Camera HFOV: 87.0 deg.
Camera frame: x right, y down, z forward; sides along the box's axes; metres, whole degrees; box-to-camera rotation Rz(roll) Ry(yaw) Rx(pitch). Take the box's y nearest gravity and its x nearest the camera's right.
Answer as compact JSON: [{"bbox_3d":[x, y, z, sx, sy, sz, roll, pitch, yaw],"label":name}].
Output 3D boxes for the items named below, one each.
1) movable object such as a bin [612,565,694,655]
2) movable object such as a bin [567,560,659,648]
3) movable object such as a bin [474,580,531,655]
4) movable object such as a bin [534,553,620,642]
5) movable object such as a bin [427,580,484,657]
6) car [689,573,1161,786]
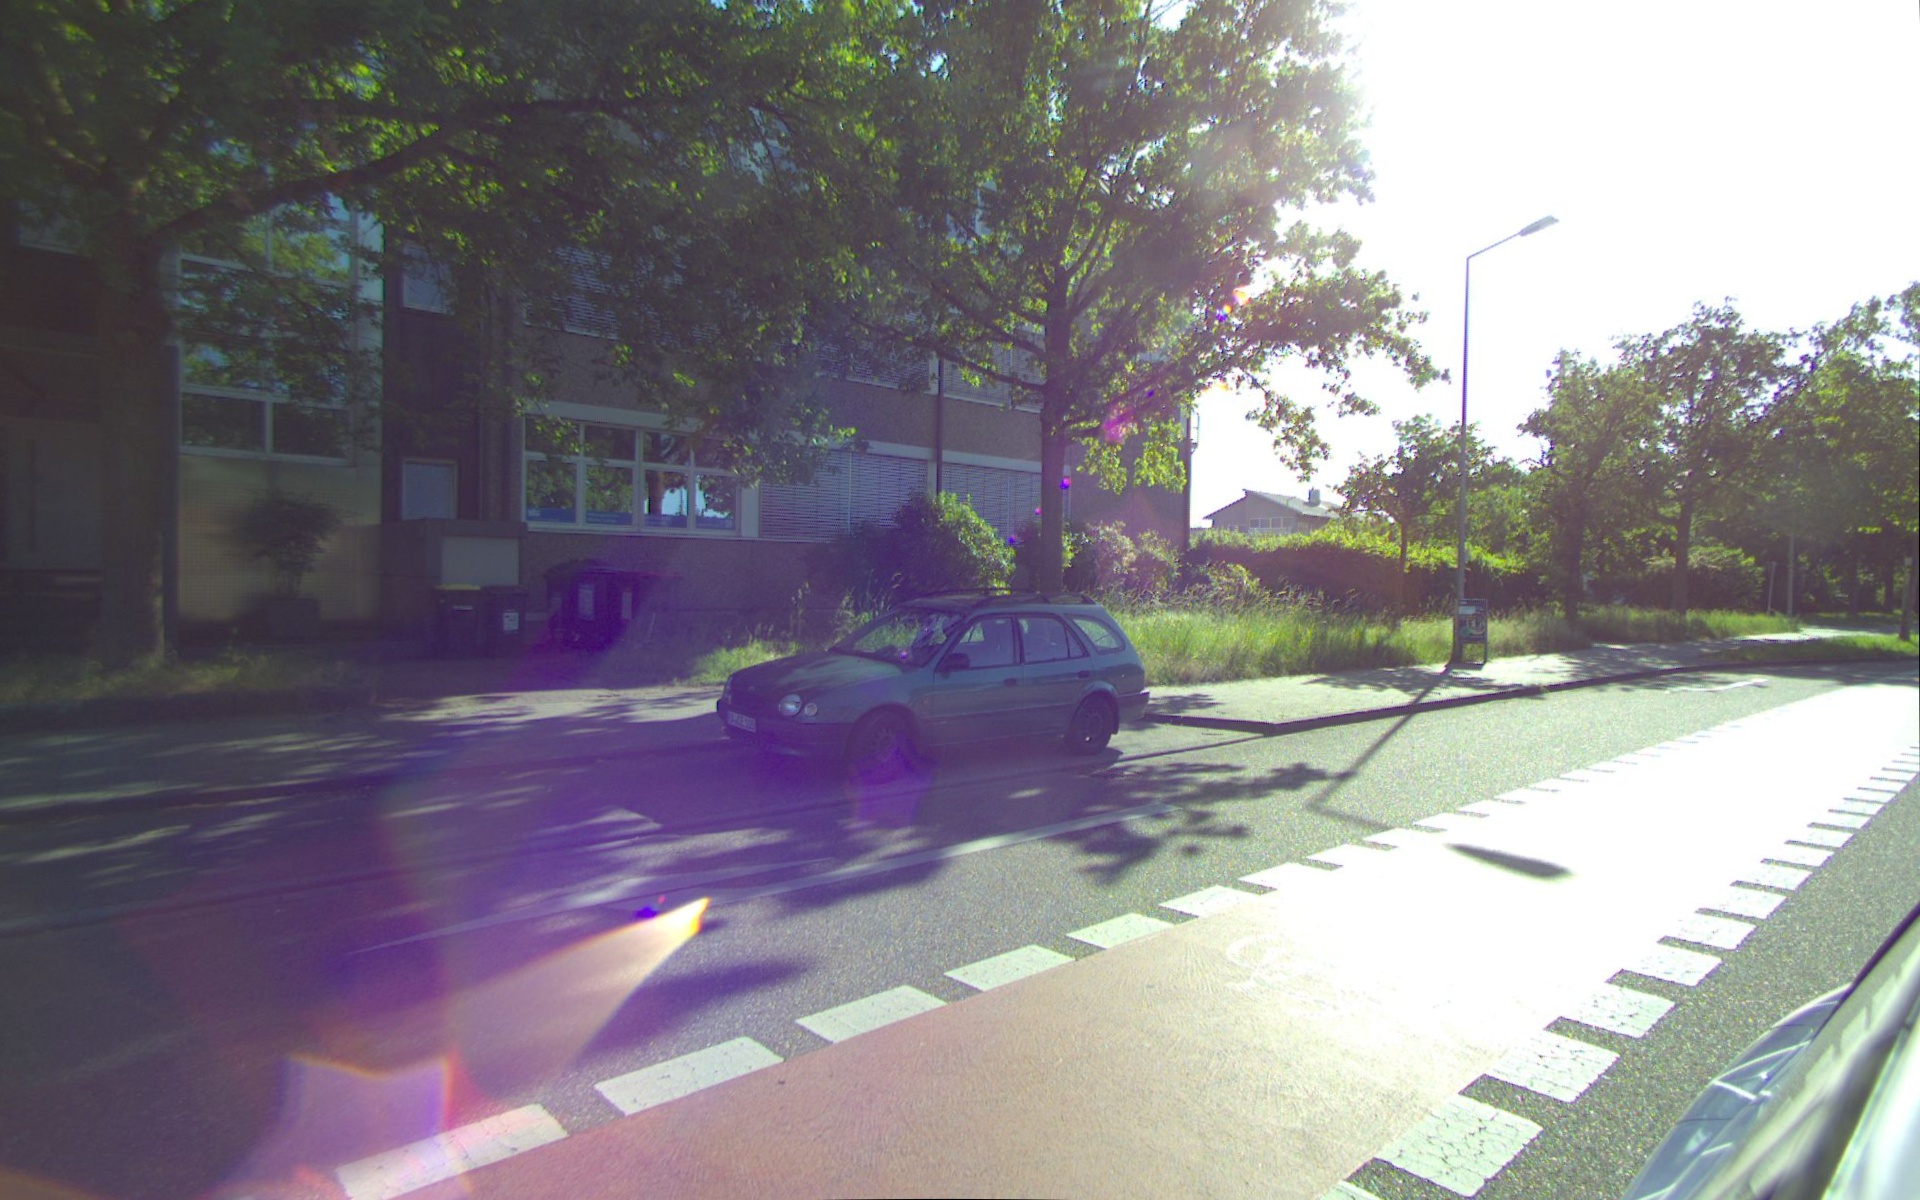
[{"bbox_3d":[-4.791,0.128,15.766,0.878,1.323,1.186,0,2,-37],"label":"movable object such as a bin"},{"bbox_3d":[-5.781,0.046,16.853,1.070,1.388,1.186,0,2,-43],"label":"movable object such as a bin"},{"bbox_3d":[-6.769,0.243,14.970,0.604,1.075,0.634,0,1,-42],"label":"movable object such as a bin"},{"bbox_3d":[-6.791,-0.070,17.934,1.024,1.501,1.309,0,2,-41],"label":"movable object such as a bin"},{"bbox_3d":[-7.225,0.249,14.490,0.575,1.070,0.625,0,1,-42],"label":"movable object such as a bin"},{"bbox_3d":[-0.155,0.576,9.125,4.068,1.487,1.705,1,1,-41],"label":"car"}]
